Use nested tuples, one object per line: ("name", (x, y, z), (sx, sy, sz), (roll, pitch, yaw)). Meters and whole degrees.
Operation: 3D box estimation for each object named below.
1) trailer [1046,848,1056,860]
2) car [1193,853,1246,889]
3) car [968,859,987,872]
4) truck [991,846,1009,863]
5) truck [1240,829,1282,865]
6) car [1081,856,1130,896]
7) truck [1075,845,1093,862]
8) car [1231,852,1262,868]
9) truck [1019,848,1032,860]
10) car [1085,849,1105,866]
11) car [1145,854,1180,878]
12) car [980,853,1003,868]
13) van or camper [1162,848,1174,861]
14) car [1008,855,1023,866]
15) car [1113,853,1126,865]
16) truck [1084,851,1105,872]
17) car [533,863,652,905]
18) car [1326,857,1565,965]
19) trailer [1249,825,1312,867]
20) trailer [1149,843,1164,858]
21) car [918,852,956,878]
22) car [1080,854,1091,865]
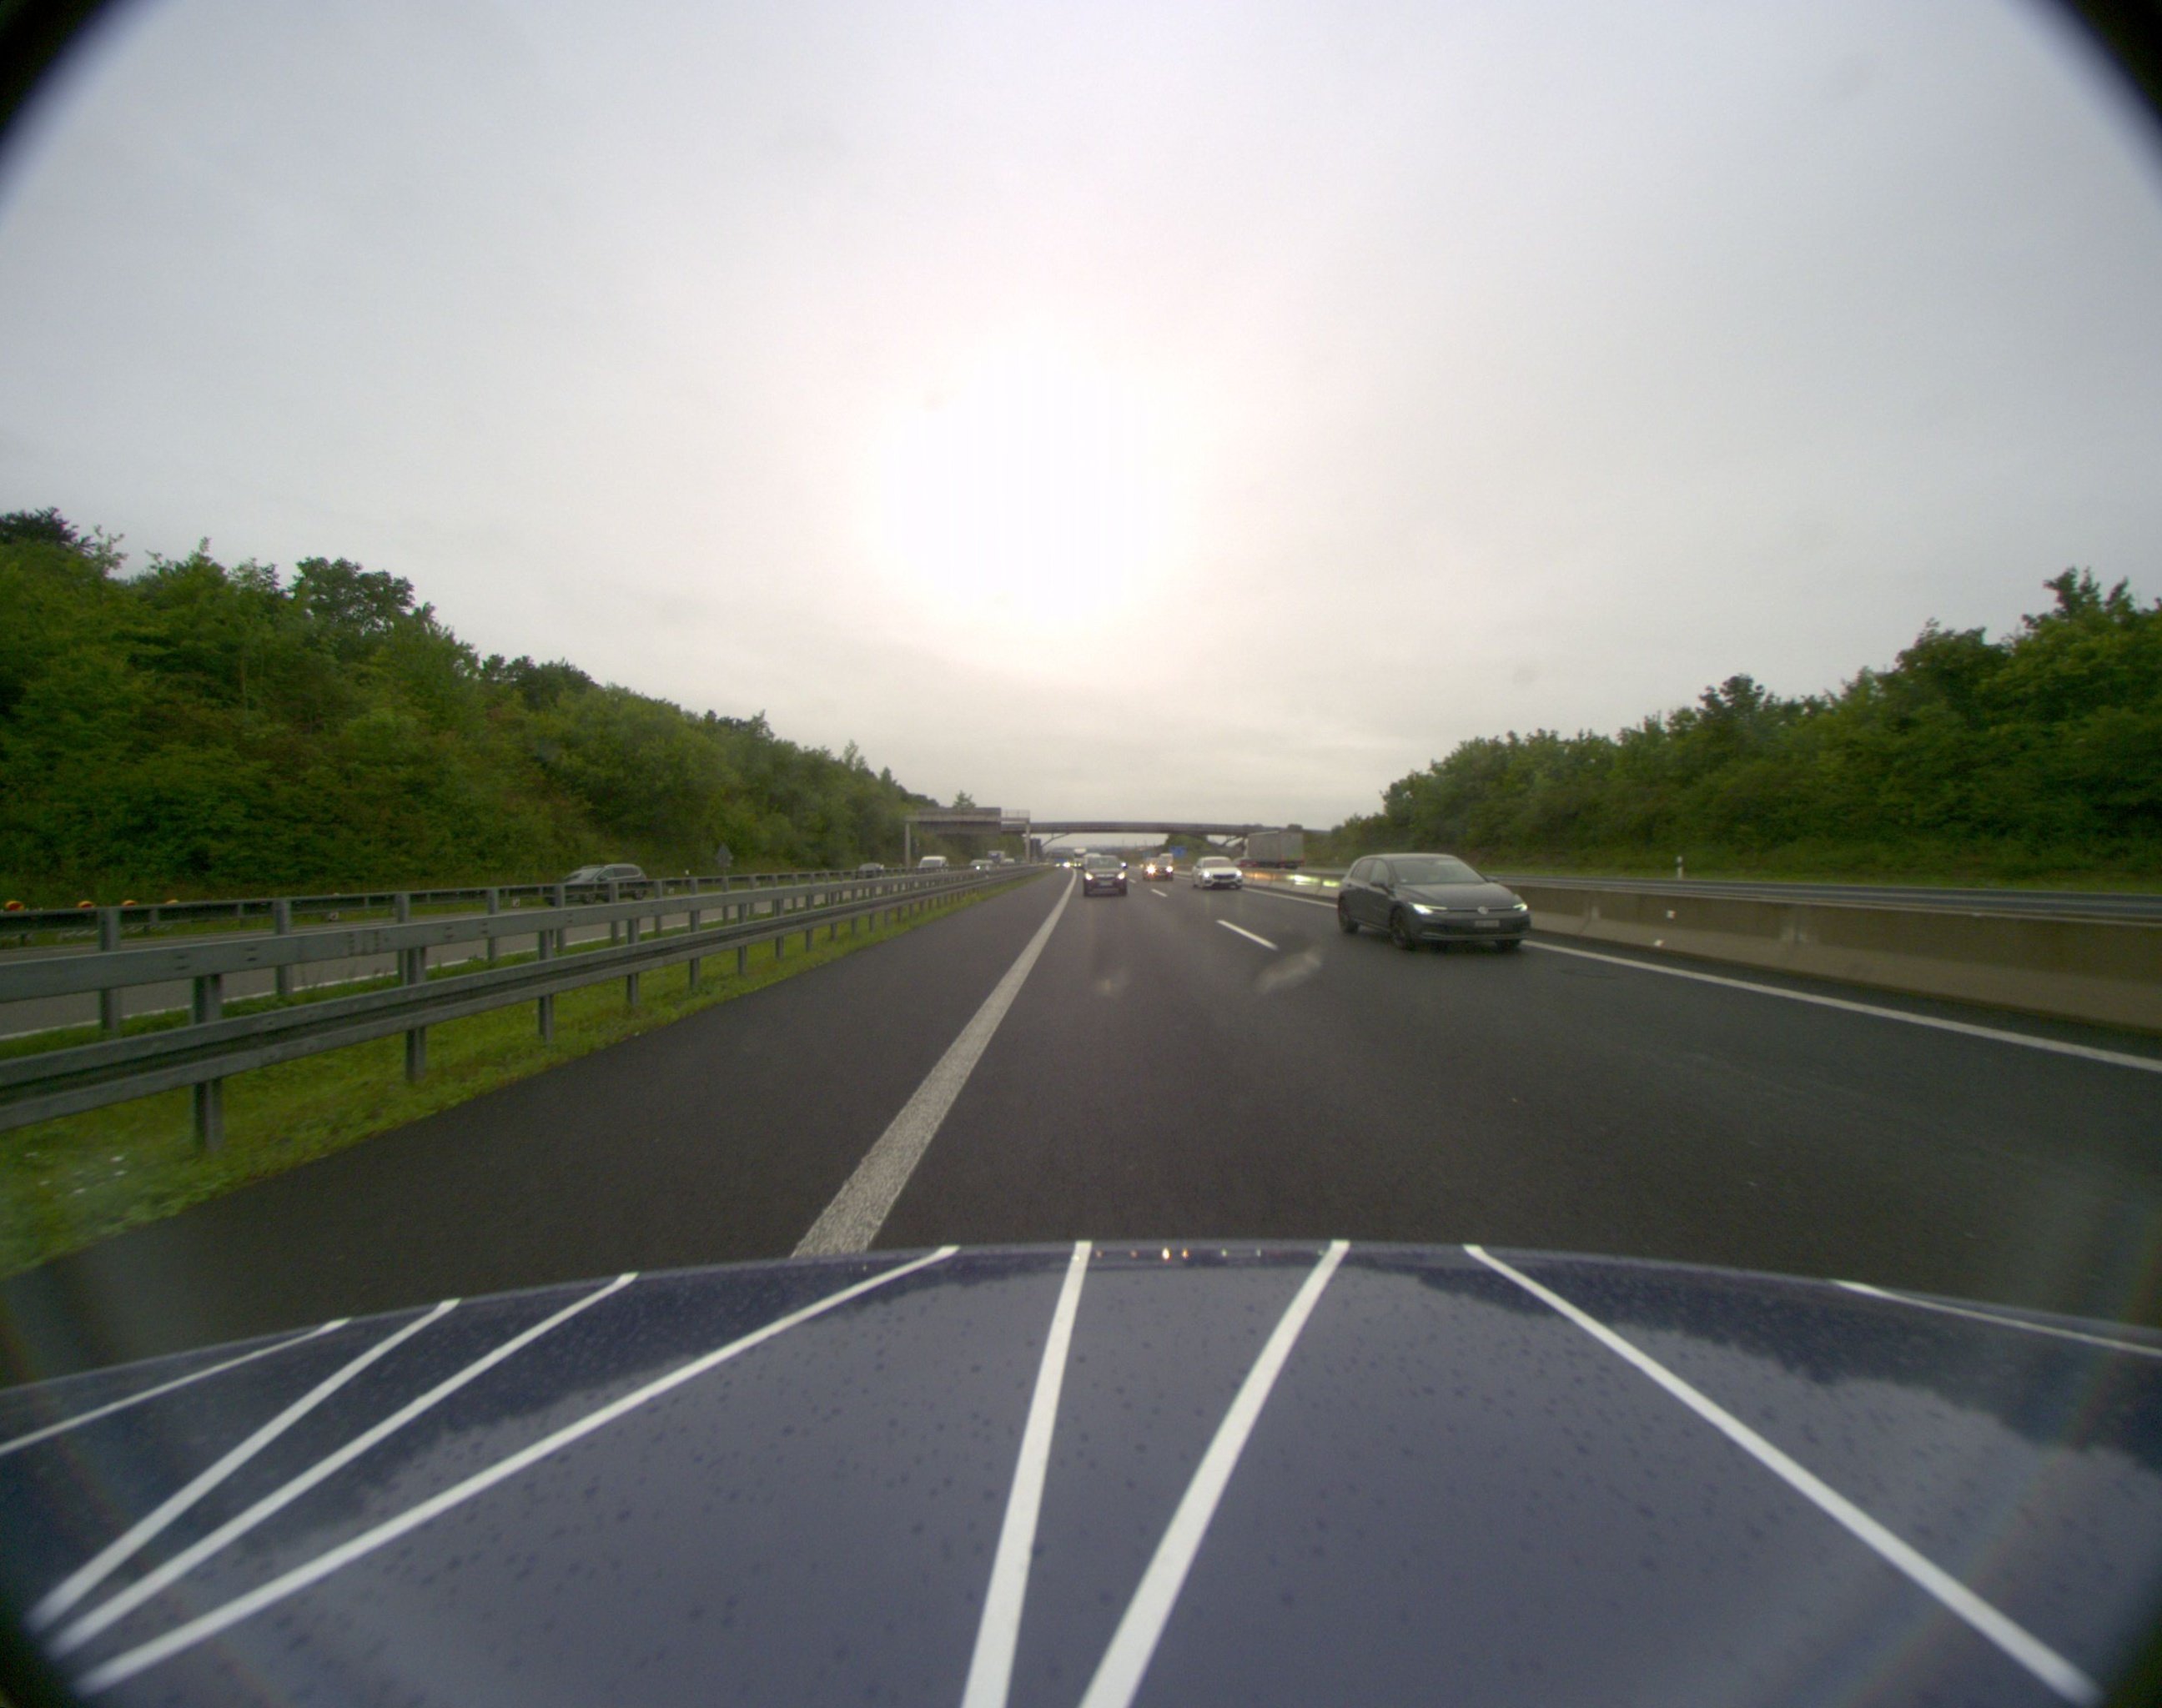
("trailer", (-9.613, -0.016, 242.433), (2.547, 3.799, 11.330), (-1, 0, 0))
("car", (6.325, 0.742, 35.061), (1.905, 1.497, 4.115), (-1, 0, 3))
("car", (-14.816, 1.616, 108.926), (2.013, 1.804, 4.276), (-1, 0, 1))
("truck", (-16.510, 0.117, 154.679), (2.909, 3.397, 9.279), (-1, 0, -2))
("truck", (21.425, -0.788, 91.014), (3.268, 4.059, 7.441), (-1, 0, 0))
("car", (1.076, 0.880, 32.073), (1.905, 1.497, 4.115), (-1, 0, 3))
("truck", (0.533, -0.148, 156.641), (3.154, 3.332, 13.097), (-1, 0, -2))
("car", (15.115, 0.494, 69.618), (1.905, 1.397, 4.379), (-1, 0, 2))
("truck", (-16.541, -0.082, 226.701), (2.909, 3.397, 13.351), (-1, 0, -1))
("car", (1.416, 0.309, 77.894), (1.825, 1.669, 4.001), (-1, 0, 4))
("car", (5.304, 0.751, 50.021), (1.905, 1.497, 4.114), (-1, 0, 1))
("car", (-10.378, 0.731, 88.199), (2.013, 1.539, 4.695), (-1, 0, 0))
("van or camper", (16.726, 0.157, 146.443), (1.799, 2.455, 5.547), (-1, 0, 1))
("car", (-10.646, 1.057, 123.578), (2.013, 1.804, 4.276), (-1, 0, 1))
("car", (5.711, 0.679, 112.652), (1.715, 1.724, 4.000), (-1, 0, 1))
("truck", (1.433, 0.837, 85.035), (2.175, 2.214, 5.642), (-1, 0, 0))
("car", (-20.764, 1.243, 32.533), (1.863, 1.573, 4.243), (-1, 0, 10))
("car", (5.669, 0.786, 12.556), (1.905, 1.397, 4.459), (-1, 0, 2))
("trailer", (21.363, -0.787, 82.566), (3.268, 4.059, 13.844), (-1, 0, 0))
("trailer", (21.034, -0.974, 212.487), (2.797, 4.059, 13.524), (-1, 0, -1))
("car", (-10.621, 0.749, 56.268), (1.864, 1.794, 4.647), (-1, 0, 0))
("car", (0.747, 0.894, 125.750), (1.715, 1.724, 4.000), (-1, 0, 1))
